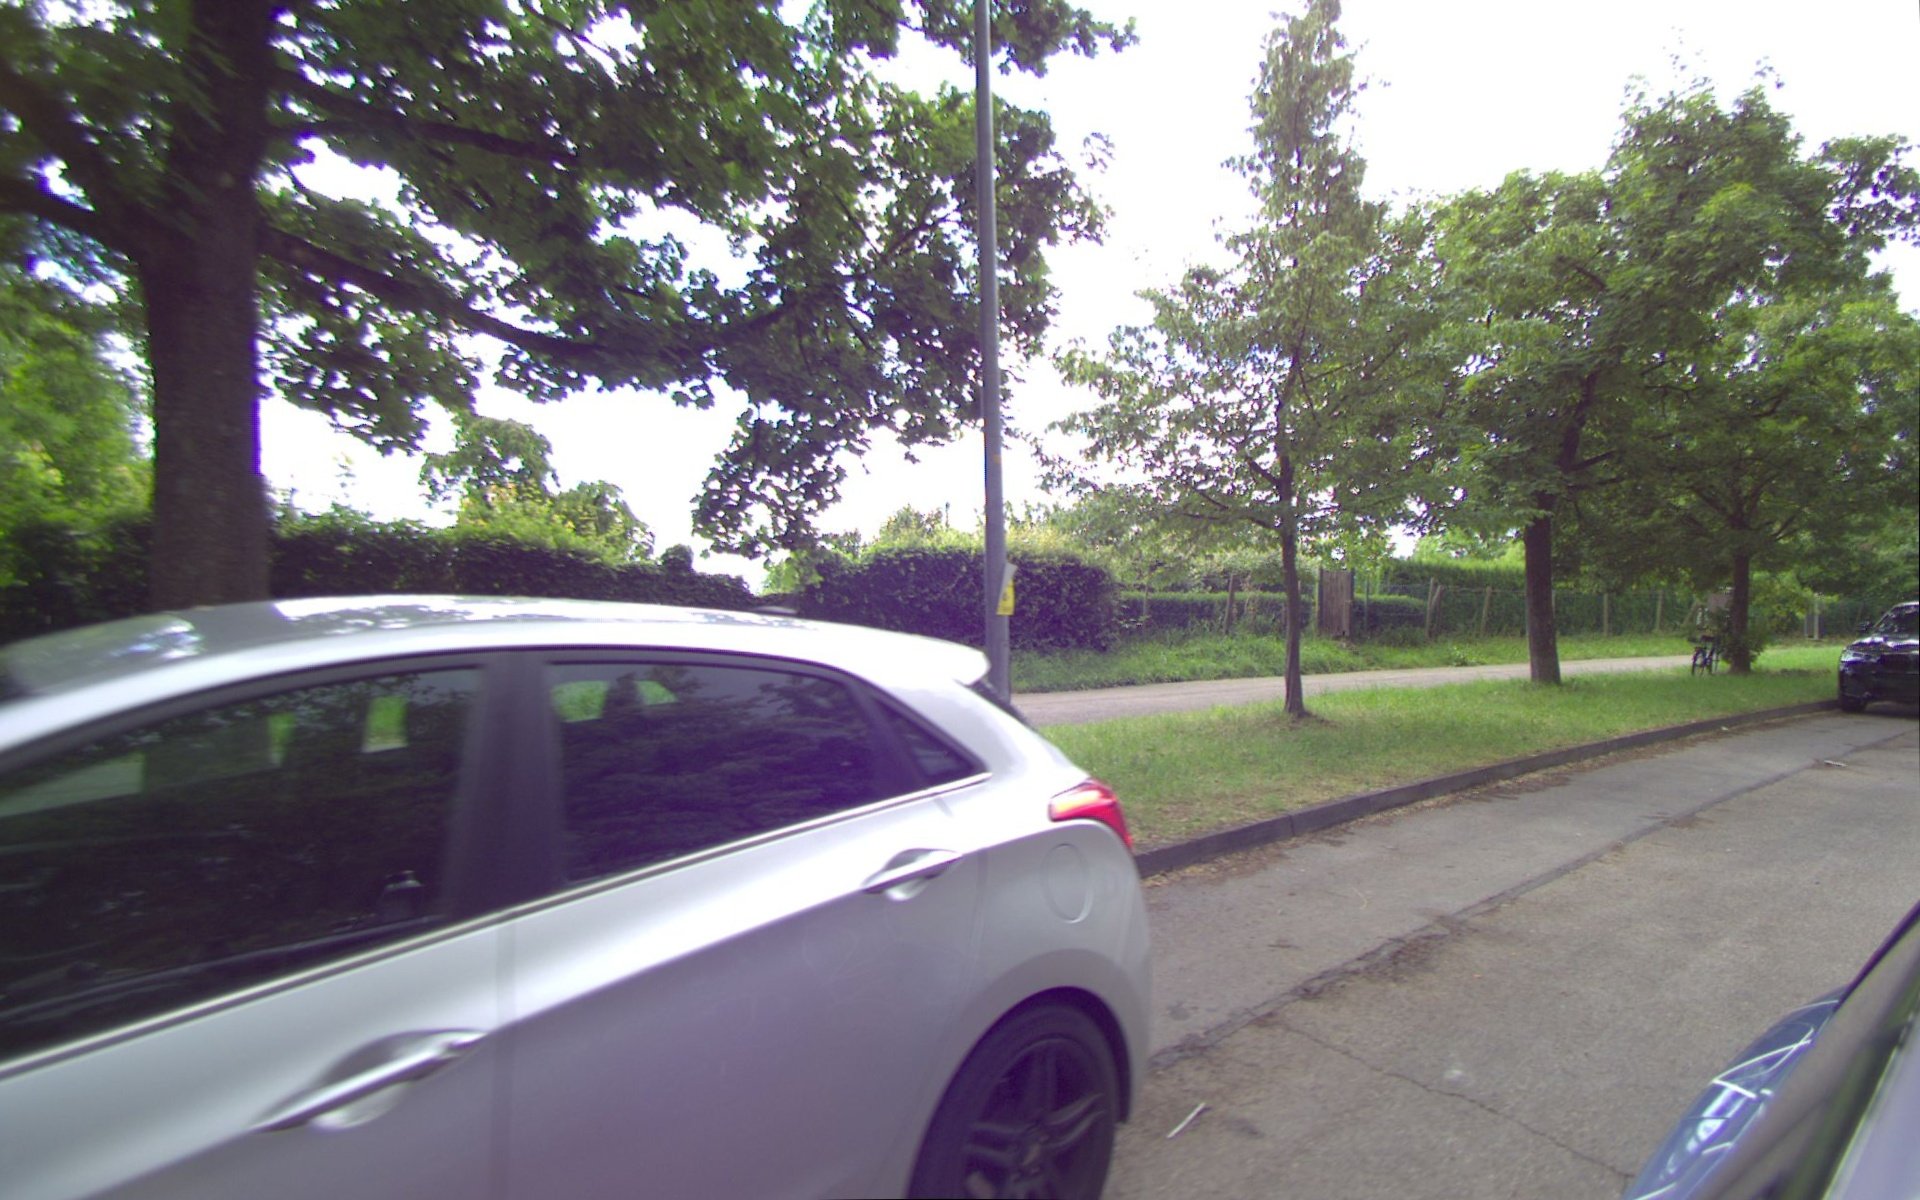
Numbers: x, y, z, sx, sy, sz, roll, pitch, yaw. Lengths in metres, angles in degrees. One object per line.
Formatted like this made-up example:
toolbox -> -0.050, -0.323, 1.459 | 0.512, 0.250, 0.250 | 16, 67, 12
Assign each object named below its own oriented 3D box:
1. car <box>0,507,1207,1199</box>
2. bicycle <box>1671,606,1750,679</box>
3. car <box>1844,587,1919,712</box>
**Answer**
car -> -1.536, 0.672, 1.775 | 3.991, 1.495, 1.904 | -2, 0, -43
bicycle -> 14.131, 0.772, 19.028 | 2.144, 1.231, 0.535 | -2, 0, -36
car -> 14.610, 0.666, 14.583 | 4.444, 1.664, 1.854 | 0, 0, -35
